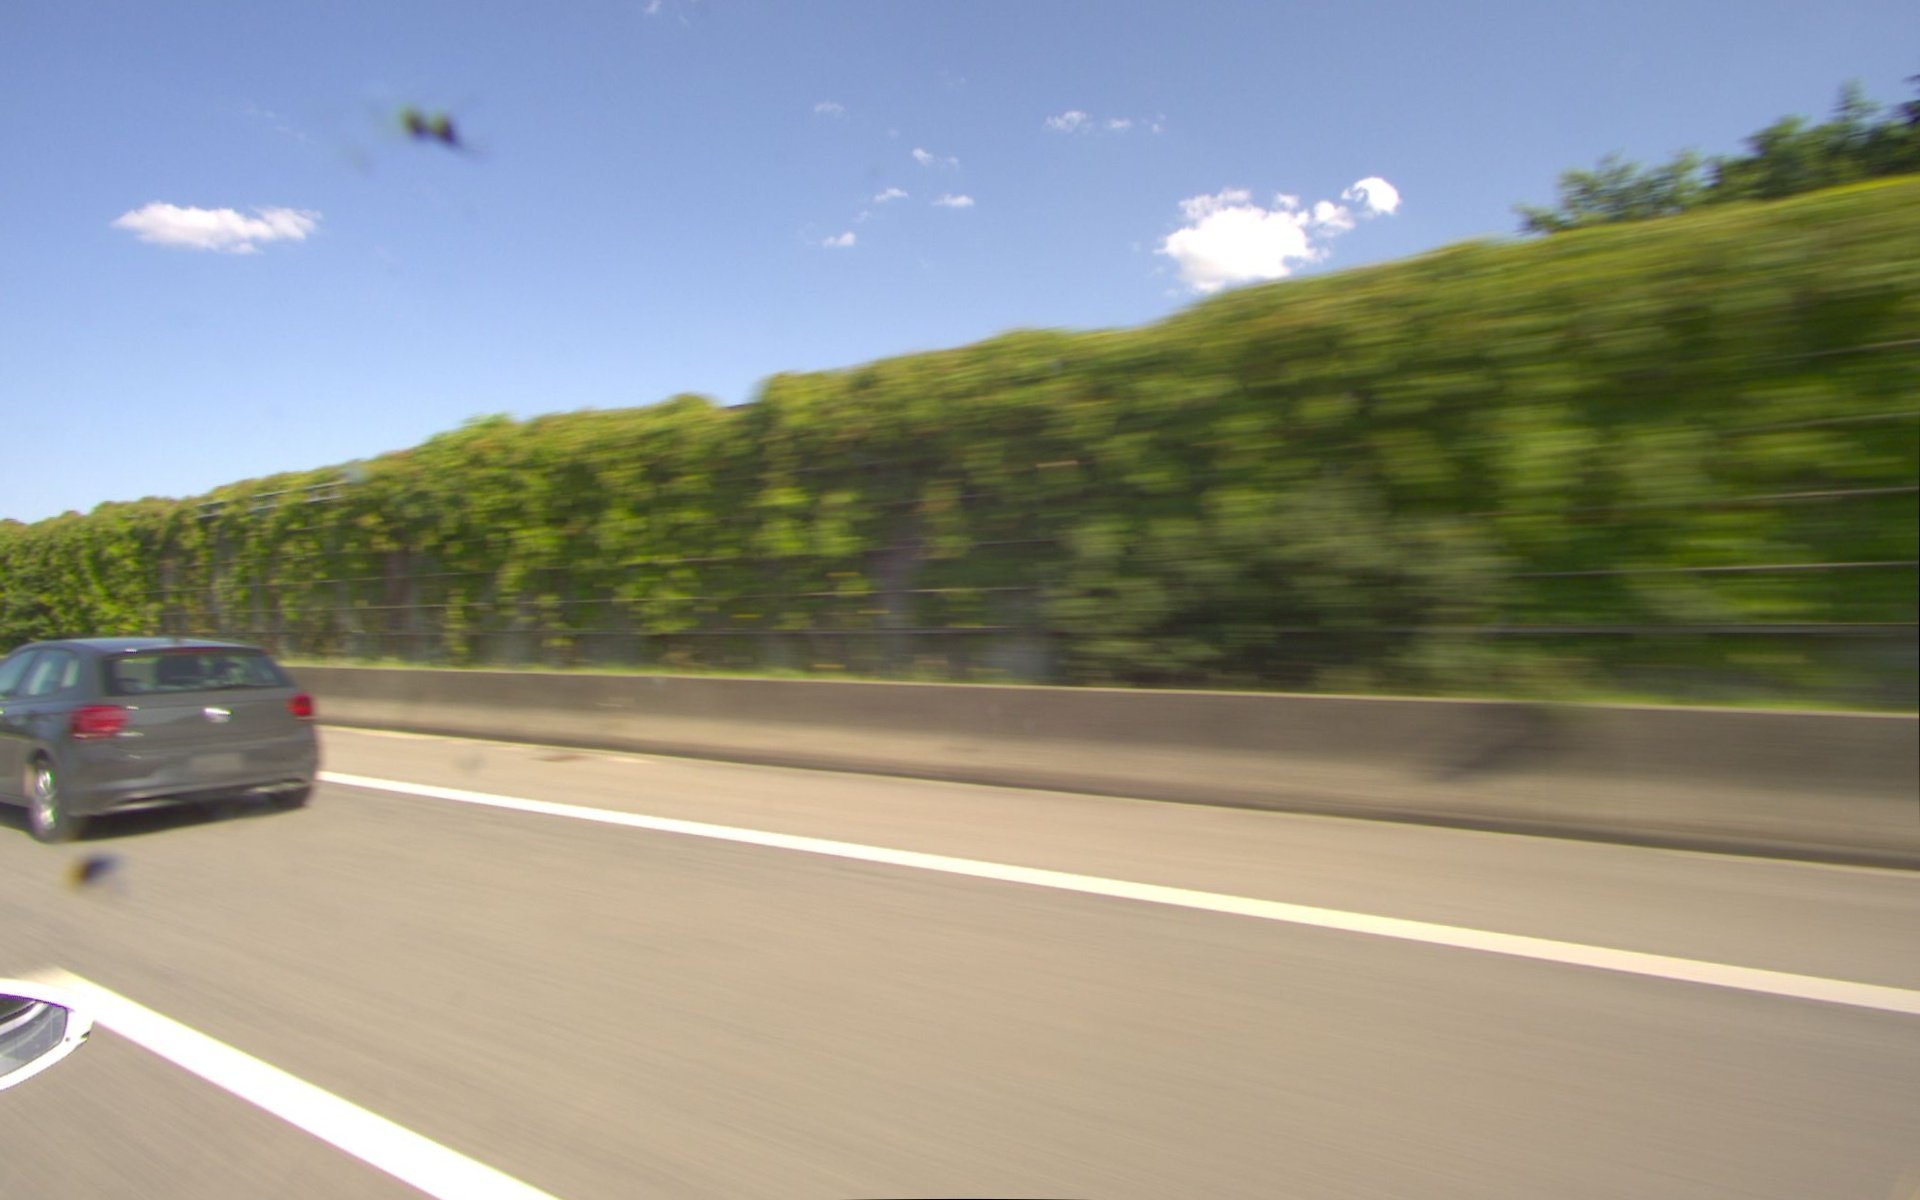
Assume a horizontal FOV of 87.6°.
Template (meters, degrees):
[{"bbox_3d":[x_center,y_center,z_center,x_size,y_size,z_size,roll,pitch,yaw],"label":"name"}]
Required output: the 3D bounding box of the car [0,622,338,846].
[{"bbox_3d":[-7.307,0.938,8.520,4.479,1.473,1.662,-1,-1,32],"label":"car"}]
